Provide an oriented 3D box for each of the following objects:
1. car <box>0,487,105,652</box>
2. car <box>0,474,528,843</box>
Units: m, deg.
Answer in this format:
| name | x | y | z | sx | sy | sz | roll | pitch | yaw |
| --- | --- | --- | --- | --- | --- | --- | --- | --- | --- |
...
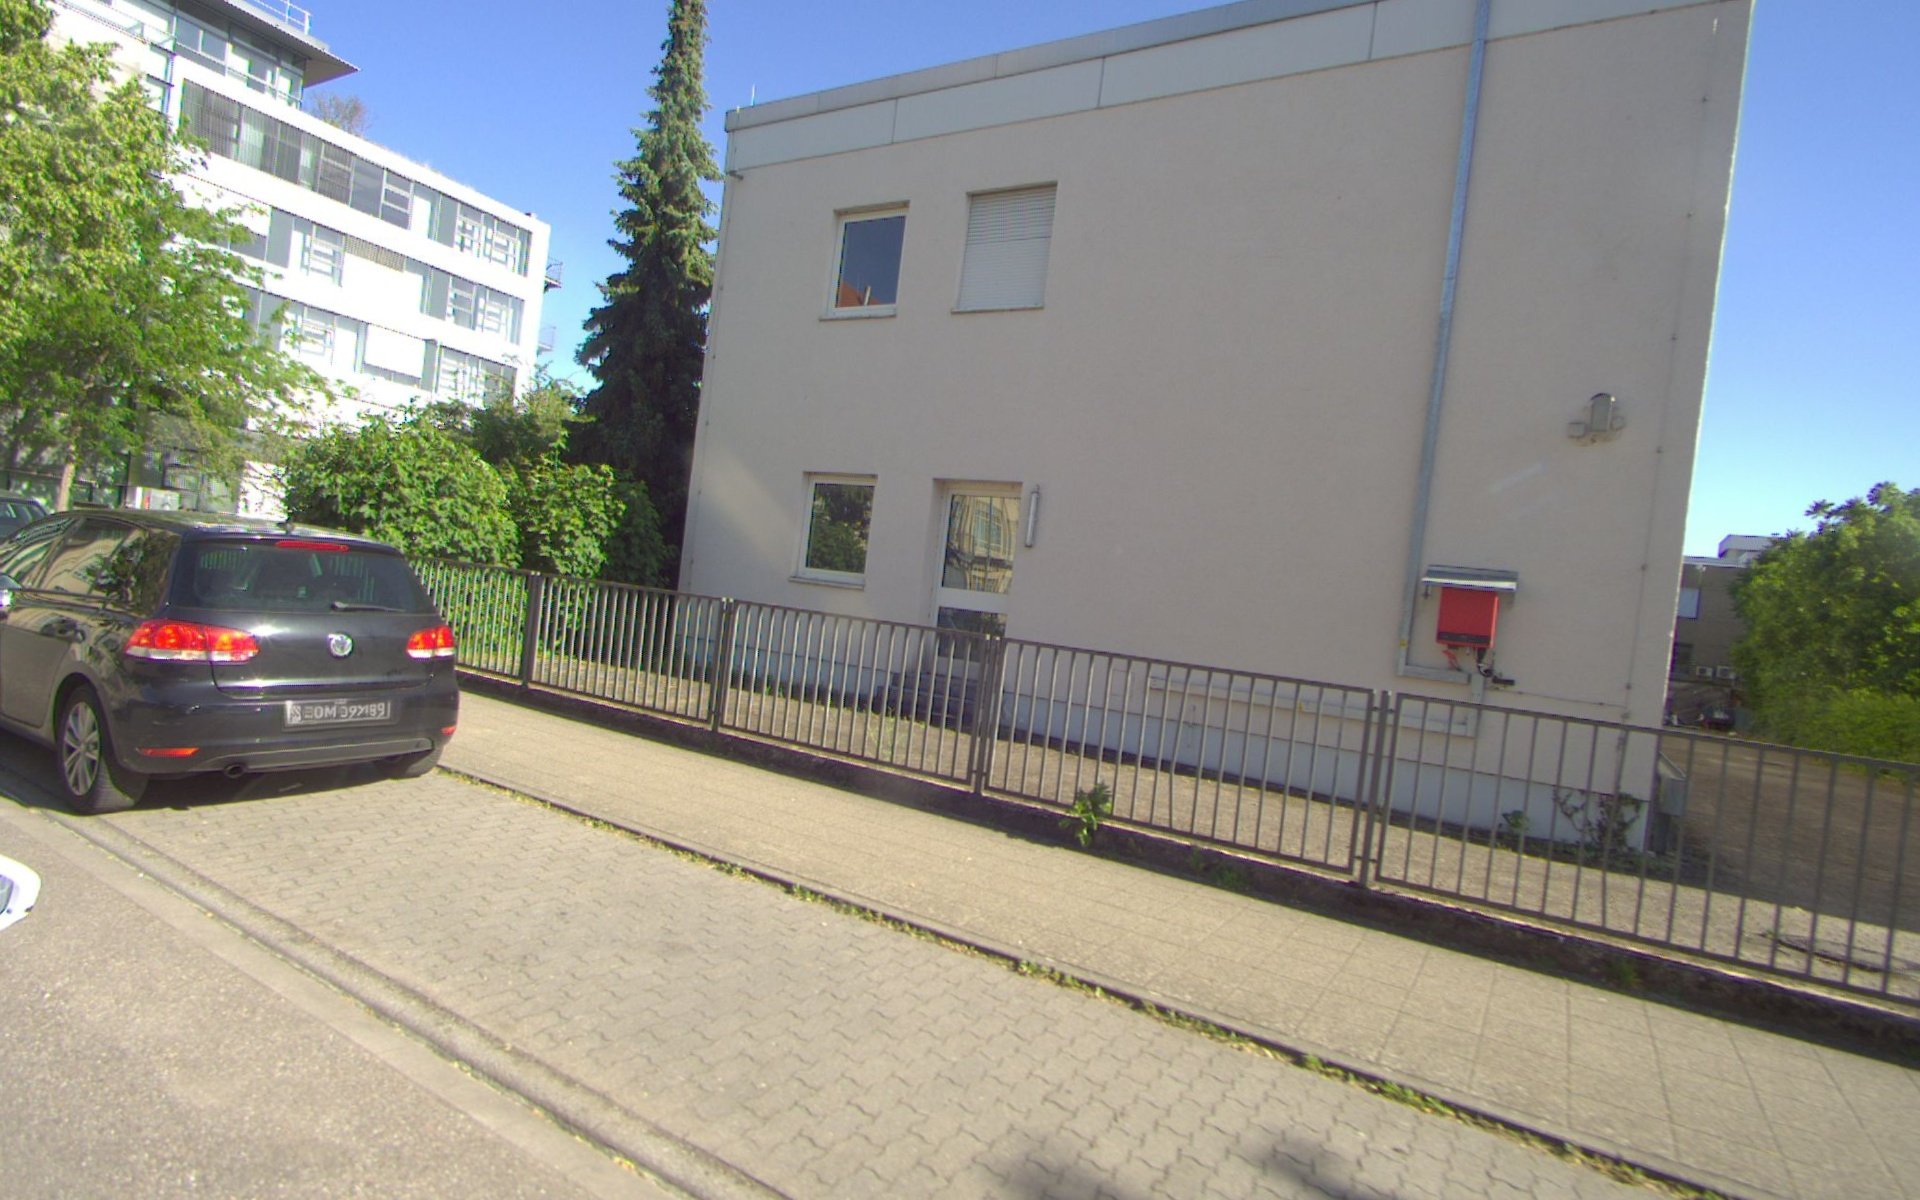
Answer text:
| name | x | y | z | sx | sy | sz | roll | pitch | yaw |
| --- | --- | --- | --- | --- | --- | --- | --- | --- | --- |
| car | -10.263 | -0.465 | 9.774 | 4.351 | 1.441 | 1.747 | 6 | 2 | 32 |
| car | -4.757 | 0.146 | 6.164 | 3.932 | 1.535 | 1.786 | 7 | 1 | 30 |
